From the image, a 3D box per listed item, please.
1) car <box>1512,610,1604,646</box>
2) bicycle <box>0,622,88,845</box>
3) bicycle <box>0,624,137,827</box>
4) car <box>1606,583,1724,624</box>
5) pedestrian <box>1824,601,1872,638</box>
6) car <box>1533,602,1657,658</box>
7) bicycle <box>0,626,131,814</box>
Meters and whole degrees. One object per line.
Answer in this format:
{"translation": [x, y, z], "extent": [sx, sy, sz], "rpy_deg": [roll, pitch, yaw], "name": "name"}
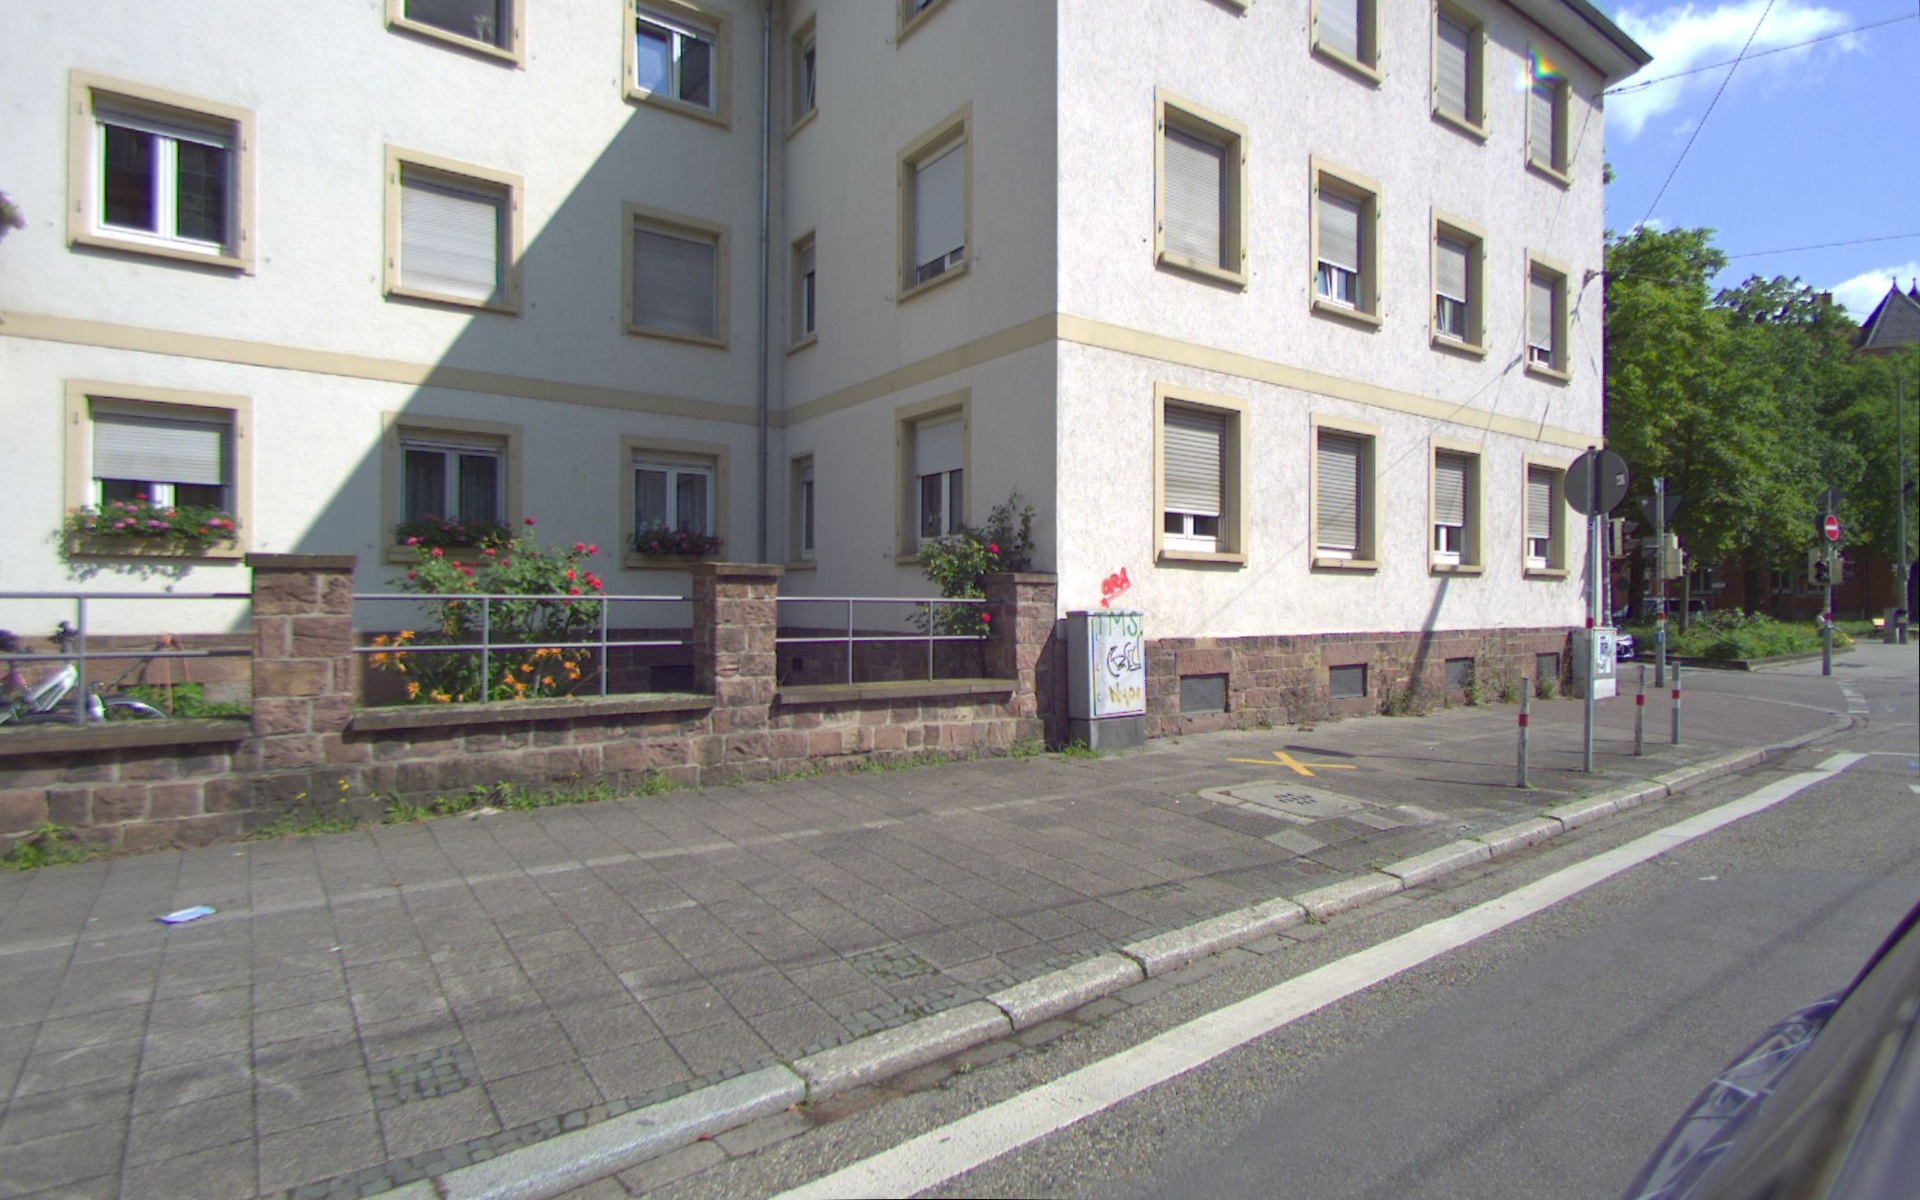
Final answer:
{"translation": [40.269, 1.873, 68.325], "extent": [2.236, 2.298, 5.244], "rpy_deg": [0, -1, -16], "name": "car"}
{"translation": [-5.745, 0.735, 5.510], "extent": [1.463, 1.216, 0.506], "rpy_deg": [1, -1, -37], "name": "bicycle"}
{"translation": [-6.044, 0.764, 6.256], "extent": [1.464, 1.216, 0.506], "rpy_deg": [1, -1, -39], "name": "bicycle"}
{"translation": [36.287, 0.173, 52.115], "extent": [5.177, 2.039, 2.288], "rpy_deg": [0, -1, -17], "name": "car"}
{"translation": [31.614, 0.678, 36.039], "extent": [0.891, 1.217, 1.158], "rpy_deg": [1, 2, -43], "name": "pedestrian"}
{"translation": [18.695, 0.836, 29.982], "extent": [1.602, 1.510, 3.724], "rpy_deg": [2, 0, 6], "name": "car"}
{"translation": [-6.512, 0.793, 6.774], "extent": [1.464, 1.216, 0.506], "rpy_deg": [1, -1, -39], "name": "bicycle"}
